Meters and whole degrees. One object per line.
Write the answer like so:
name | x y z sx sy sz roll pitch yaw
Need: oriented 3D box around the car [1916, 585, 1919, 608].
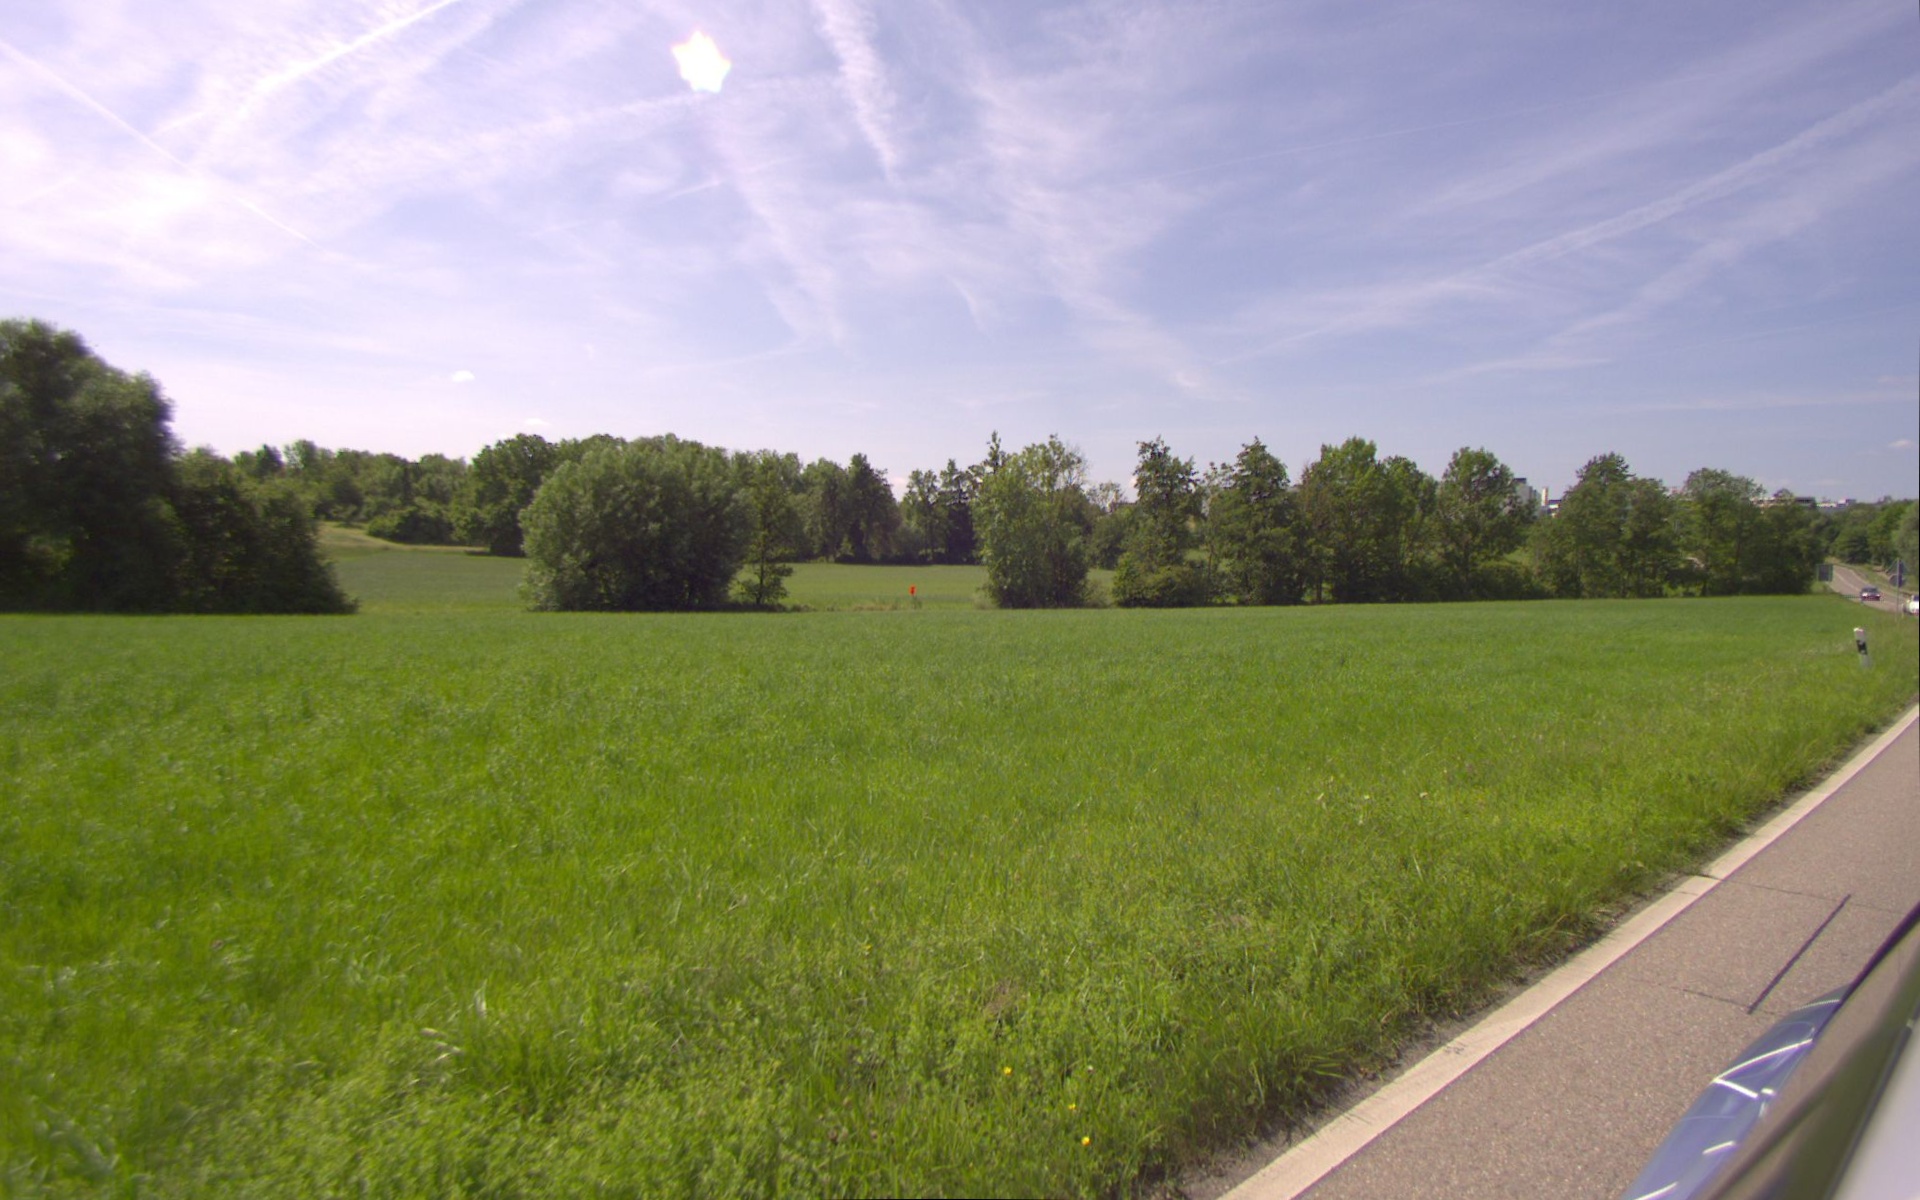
car | 69.774 -0.237 72.379 1.994 1.605 3.937 1 1 44

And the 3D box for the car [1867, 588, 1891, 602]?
car | 111.109 -0.583 122.344 1.991 1.605 3.942 1 1 40
